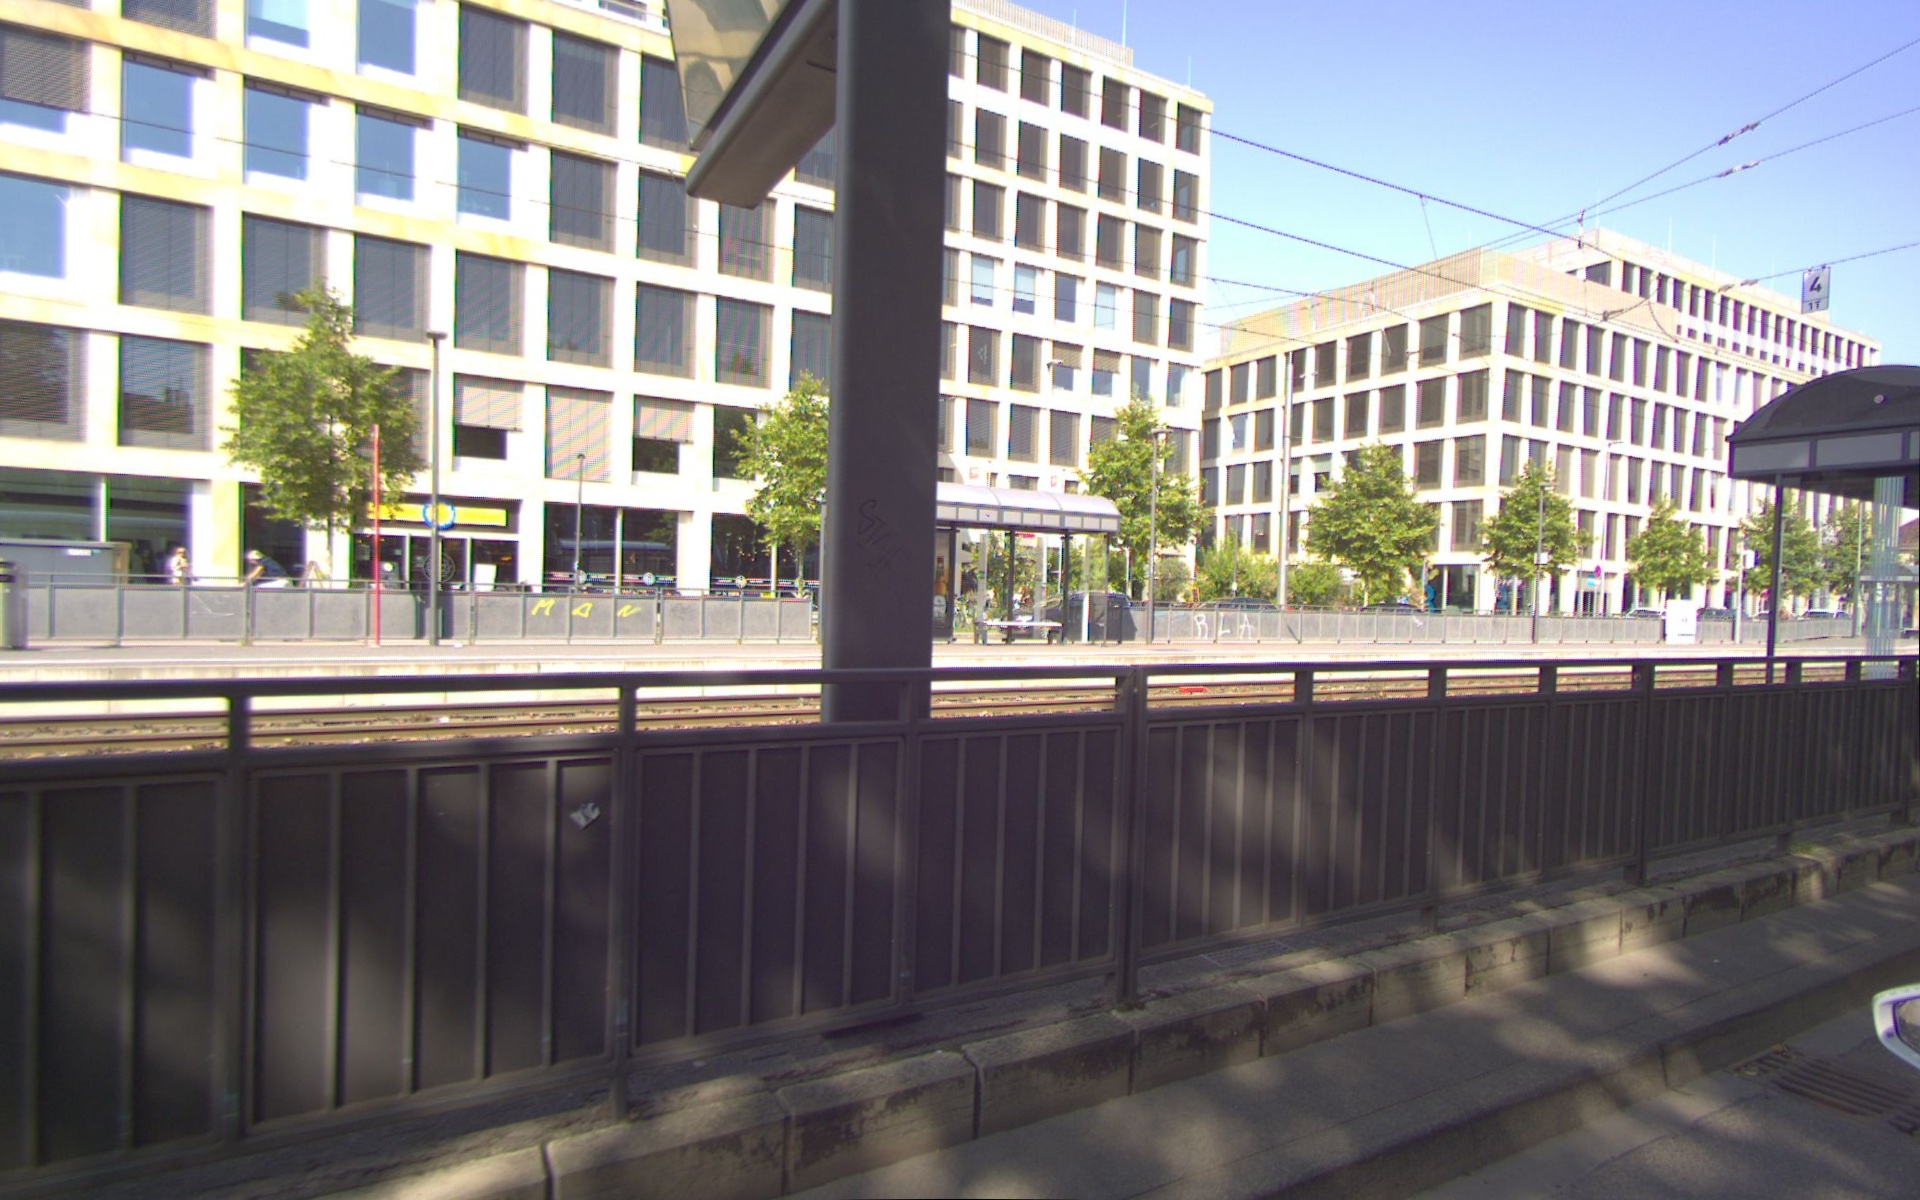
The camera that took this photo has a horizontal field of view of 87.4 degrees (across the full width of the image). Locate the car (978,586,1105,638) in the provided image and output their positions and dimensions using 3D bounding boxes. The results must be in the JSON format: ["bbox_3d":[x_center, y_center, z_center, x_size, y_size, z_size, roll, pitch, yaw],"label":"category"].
[{"bbox_3d":[2.415,0.356,29.545,3.466,1.447,1.545,1,0,-32],"label":"car"}]

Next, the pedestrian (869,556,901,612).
[{"bbox_3d":[-2.695,-0.563,36.246,0.830,1.942,0.788,3,-3,-35],"label":"pedestrian"}]

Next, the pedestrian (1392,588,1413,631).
[{"bbox_3d":[21.453,0.488,48.652,0.813,2.040,0.560,3,-3,-30],"label":"pedestrian"}]

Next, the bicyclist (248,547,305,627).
[{"bbox_3d":[-12.602,-0.222,18.540,0.775,1.420,0.626,3,-3,-30],"label":"bicyclist"}]

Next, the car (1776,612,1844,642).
[{"bbox_3d":[48.597,1.560,57.409,4.085,1.624,1.755,2,0,-31],"label":"car"}]

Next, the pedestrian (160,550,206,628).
[{"bbox_3d":[-20.831,-0.300,26.947,0.811,2.041,0.764,1,1,-27],"label":"pedestrian"}]

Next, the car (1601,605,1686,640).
[{"bbox_3d":[32.165,1.063,47.256,4.085,1.595,1.755,2,0,-31],"label":"car"}]

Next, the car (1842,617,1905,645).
[{"bbox_3d":[55.553,1.890,61.065,4.085,1.624,1.755,2,0,-31],"label":"car"}]
